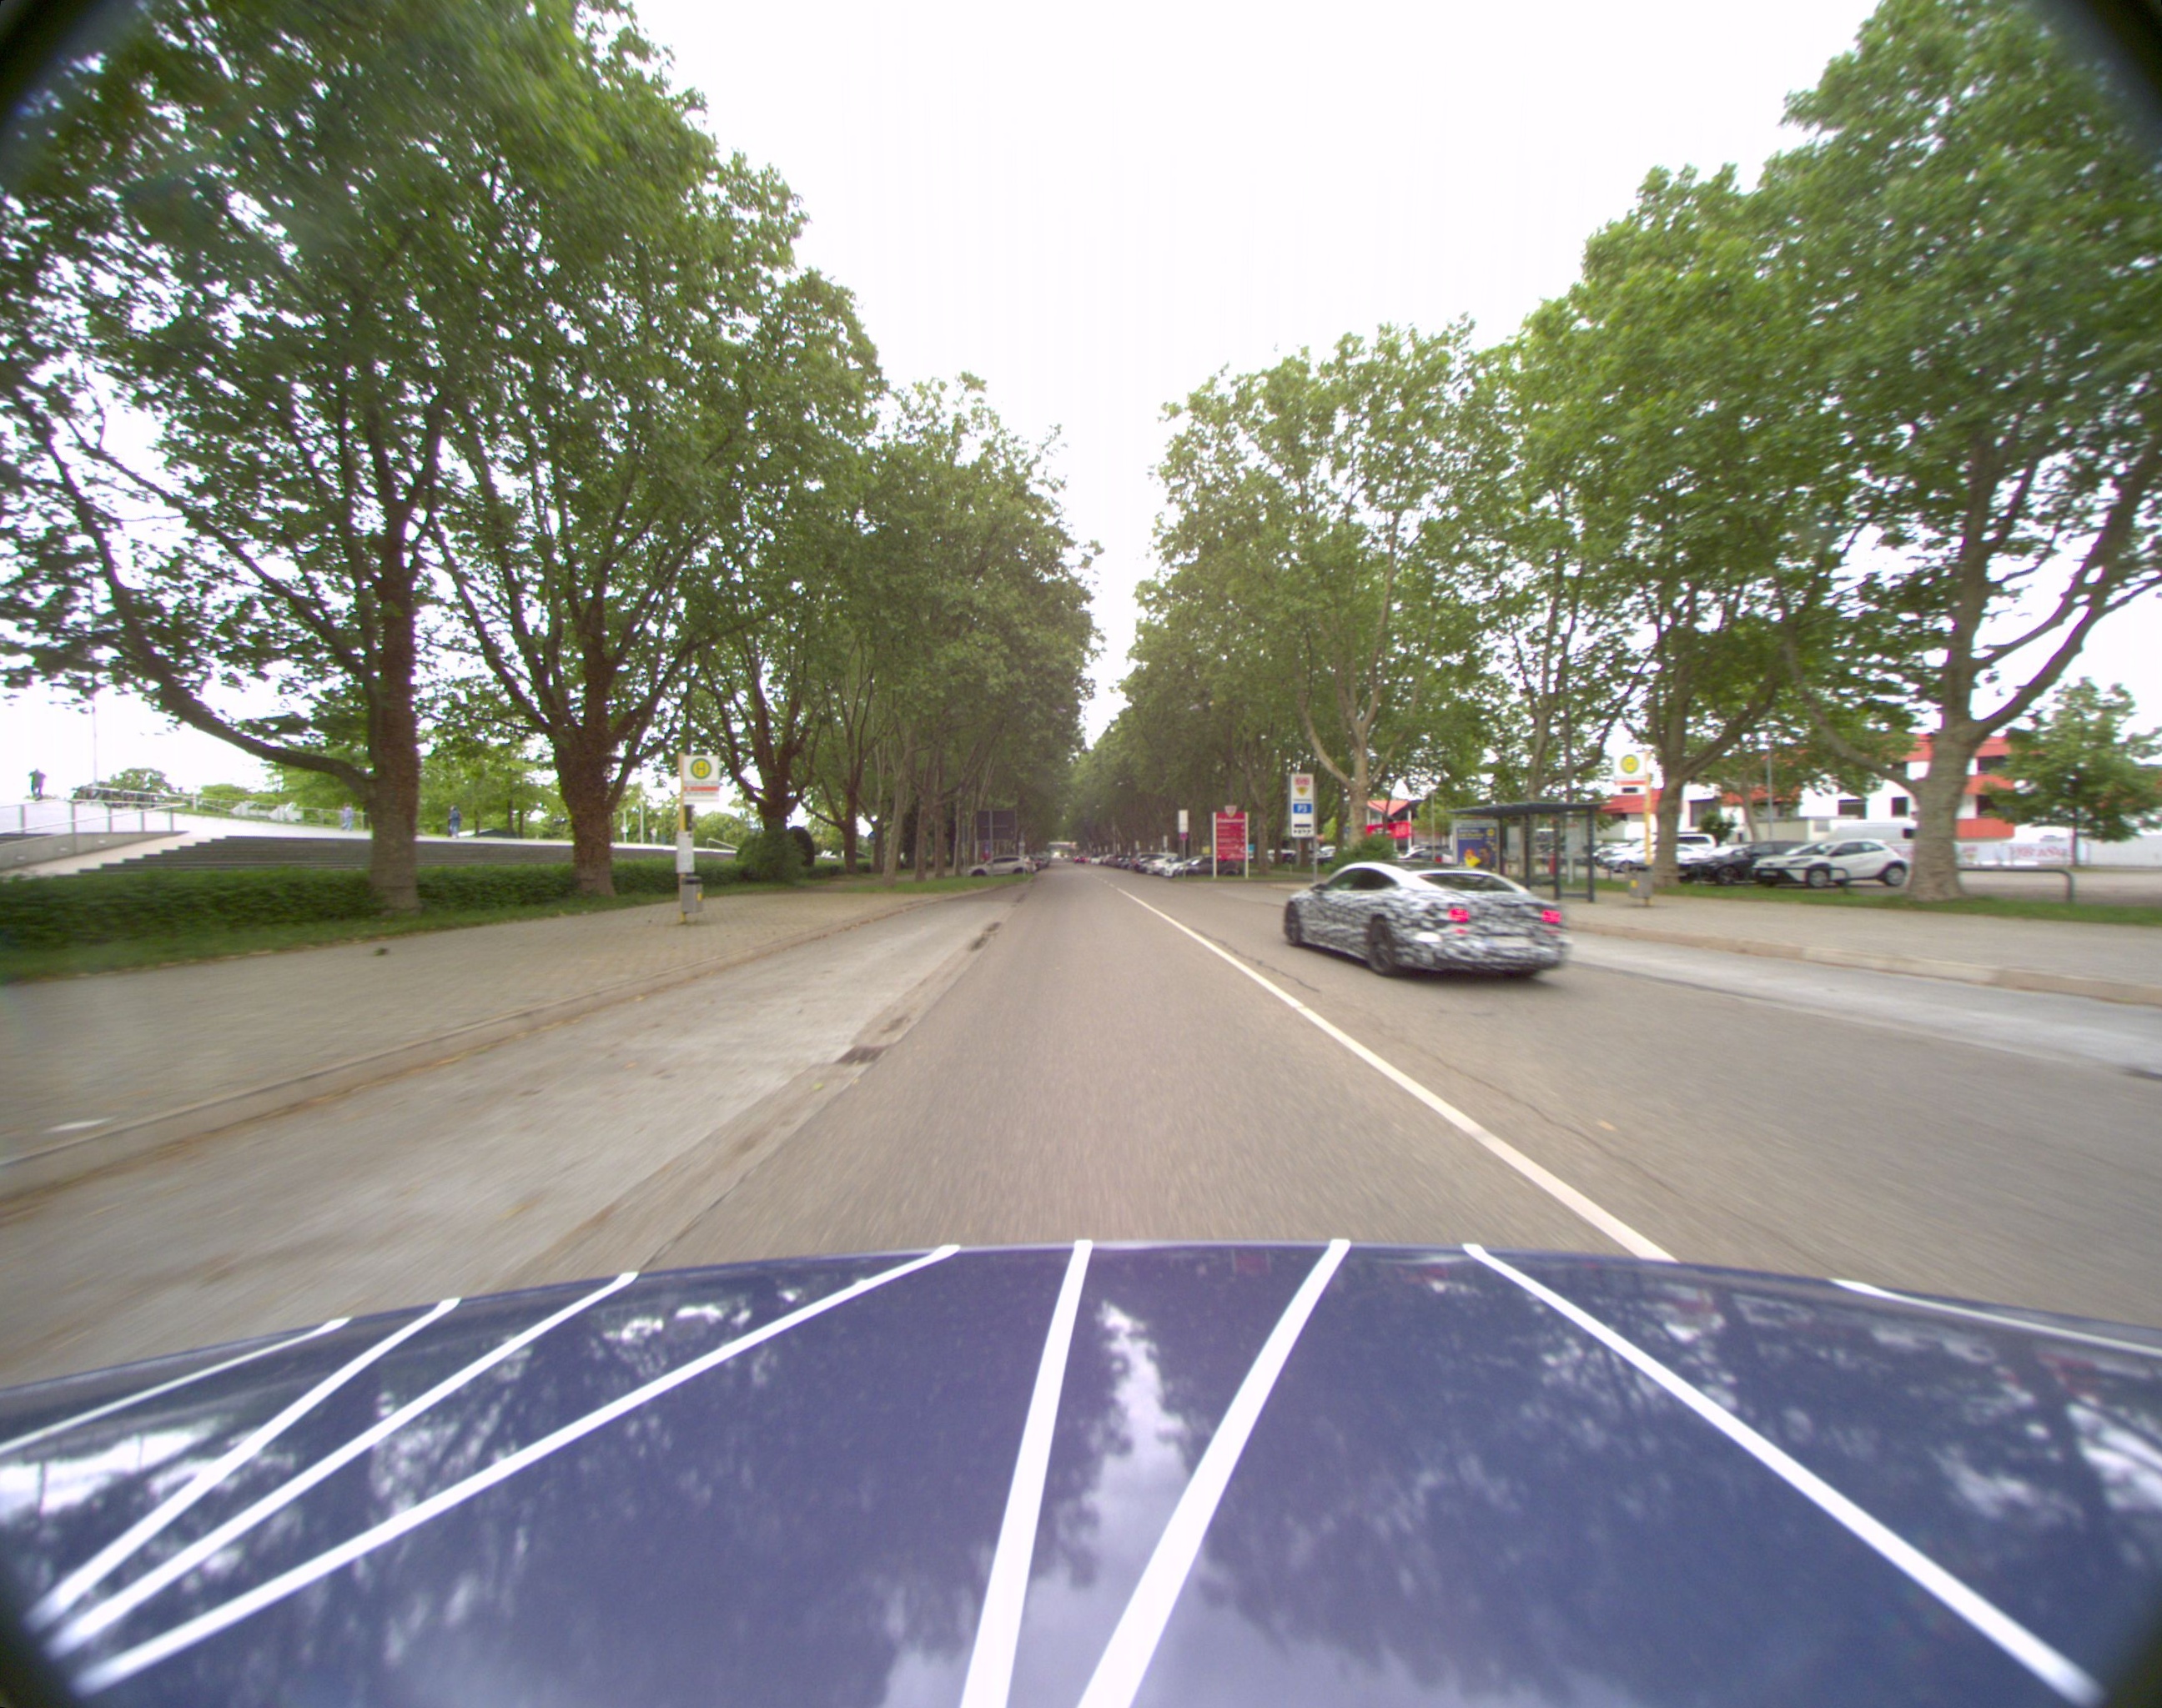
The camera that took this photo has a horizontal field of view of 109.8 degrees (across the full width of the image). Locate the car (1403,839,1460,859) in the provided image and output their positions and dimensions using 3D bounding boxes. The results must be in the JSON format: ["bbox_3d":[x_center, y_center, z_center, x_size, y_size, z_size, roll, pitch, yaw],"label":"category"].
[{"bbox_3d":[34.380,-0.479,74.605,4.589,1.844,2.297,-2,1,3],"label":"car"}]

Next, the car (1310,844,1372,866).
[{"bbox_3d":[22.456,0.063,65.737,4.531,1.752,2.295,-2,1,-3],"label":"car"}]

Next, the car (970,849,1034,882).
[{"bbox_3d":[-5.239,0.755,50.863,3.997,2.002,2.000,-2,0,-1],"label":"car"}]

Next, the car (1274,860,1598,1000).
[{"bbox_3d":[4.391,0.828,10.455,1.906,1.444,4.812,0,0,-5],"label":"car"}]

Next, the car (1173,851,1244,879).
[{"bbox_3d":[7.690,0.646,46.075,4.004,1.531,1.804,-2,1,0],"label":"car"}]

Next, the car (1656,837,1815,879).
[{"bbox_3d":[23.282,0.114,27.143,3.998,1.316,2.001,-2,1,-2],"label":"car"}]

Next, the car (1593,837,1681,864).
[{"bbox_3d":[34.497,-0.215,47.240,4.229,1.539,1.789,-2,1,-3],"label":"car"}]

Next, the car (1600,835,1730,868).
[{"bbox_3d":[29.942,-0.118,39.176,4.966,1.543,2.103,-1,1,25],"label":"car"}]

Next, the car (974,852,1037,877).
[{"bbox_3d":[-5.494,0.757,55.570,4.358,1.624,1.925,-2,0,-1],"label":"car"}]

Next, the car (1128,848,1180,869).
[{"bbox_3d":[6.565,0.382,68.612,4.330,1.799,1.866,1,0,-5],"label":"car"}]

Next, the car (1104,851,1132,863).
[{"bbox_3d":[5.430,0.465,111.232,3.997,1.672,1.855,-2,1,-1],"label":"car"}]

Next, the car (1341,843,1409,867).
[{"bbox_3d":[22.484,0.059,58.228,4.332,1.699,2.131,-2,1,-3],"label":"car"}]

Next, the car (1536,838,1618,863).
[{"bbox_3d":[33.930,-0.233,52.066,4.332,1.539,1.958,-2,1,-3],"label":"car"}]

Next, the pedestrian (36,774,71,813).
[{"bbox_3d":[-49.213,-2.894,36.401,0.835,1.755,0.682,-1,1,15],"label":"pedestrian"}]

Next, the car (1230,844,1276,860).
[{"bbox_3d":[21.035,-0.264,93.007,4.955,1.786,2.182,-2,1,-4],"label":"car"}]

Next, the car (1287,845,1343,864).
[{"bbox_3d":[22.334,0.041,72.689,4.564,1.716,2.295,-2,1,-3],"label":"car"}]

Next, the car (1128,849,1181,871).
[{"bbox_3d":[6.362,0.531,66.091,4.329,1.785,2.036,-2,1,-2],"label":"car"}]

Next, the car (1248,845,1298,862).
[{"bbox_3d":[21.478,-0.039,85.263,4.955,1.786,2.182,-1,0,-4],"label":"car"}]

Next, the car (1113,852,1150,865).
[{"bbox_3d":[5.695,0.478,86.120,3.942,1.390,1.703,1,0,-3],"label":"car"}]

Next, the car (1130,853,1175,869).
[{"bbox_3d":[6.724,0.686,71.319,3.796,1.463,1.763,1,0,-12],"label":"car"}]

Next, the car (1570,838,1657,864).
[{"bbox_3d":[34.682,-0.194,49.556,4.332,1.539,1.958,-2,1,-3],"label":"car"}]

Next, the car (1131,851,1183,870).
[{"bbox_3d":[6.345,0.545,63.650,4.139,1.443,2.013,2,0,0],"label":"car"}]

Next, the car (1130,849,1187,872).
[{"bbox_3d":[6.248,0.532,61.631,4.329,1.799,1.867,1,0,-2],"label":"car"}]

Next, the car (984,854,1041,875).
[{"bbox_3d":[-5.458,0.844,60.947,4.358,1.447,1.949,-2,0,-3],"label":"car"}]

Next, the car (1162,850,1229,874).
[{"bbox_3d":[7.284,0.503,48.473,4.003,1.377,1.911,-2,1,2],"label":"car"}]

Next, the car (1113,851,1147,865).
[{"bbox_3d":[6.024,0.529,94.034,3.942,1.698,1.751,1,0,-3],"label":"car"}]

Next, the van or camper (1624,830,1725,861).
[{"bbox_3d":[34.963,-0.503,44.840,4.332,1.699,2.131,-2,1,-3],"label":"van or camper"}]

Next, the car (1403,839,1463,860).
[{"bbox_3d":[33.533,-0.456,72.507,4.589,1.844,2.297,-2,1,3],"label":"car"}]

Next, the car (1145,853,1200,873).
[{"bbox_3d":[7.043,0.701,58.766,3.998,1.396,1.885,-2,1,-3],"label":"car"}]

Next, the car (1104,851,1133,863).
[{"bbox_3d":[5.309,0.438,108.803,3.997,1.672,1.855,-2,1,-1],"label":"car"}]

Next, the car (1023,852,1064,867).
[{"bbox_3d":[-4.210,0.628,85.346,4.357,1.493,1.926,-2,0,1],"label":"car"}]

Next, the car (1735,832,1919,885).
[{"bbox_3d":[23.874,0.138,24.427,3.997,1.514,2.001,-2,1,-1],"label":"car"}]

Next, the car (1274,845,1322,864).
[{"bbox_3d":[22.233,0.031,77.950,4.332,1.850,2.027,-2,1,-3],"label":"car"}]

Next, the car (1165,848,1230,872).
[{"bbox_3d":[7.764,0.390,51.017,4.004,1.485,1.832,-2,1,-2],"label":"car"}]

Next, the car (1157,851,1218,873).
[{"bbox_3d":[7.467,0.577,53.410,3.998,1.397,1.861,-2,1,-2],"label":"car"}]

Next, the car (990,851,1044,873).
[{"bbox_3d":[-5.313,0.652,63.314,4.358,1.750,1.925,-1,0,-3],"label":"car"}]

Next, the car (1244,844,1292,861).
[{"bbox_3d":[21.688,-0.230,88.056,4.955,1.786,2.182,-2,1,-4],"label":"car"}]

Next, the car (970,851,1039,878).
[{"bbox_3d":[-5.079,0.693,50.964,4.358,1.624,1.925,-2,0,-1],"label":"car"}]

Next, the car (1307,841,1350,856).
[{"bbox_3d":[32.496,-0.764,99.845,4.955,1.786,2.182,-2,1,-4],"label":"car"}]

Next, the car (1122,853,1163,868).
[{"bbox_3d":[6.171,0.656,76.264,3.988,1.412,1.756,1,0,1],"label":"car"}]

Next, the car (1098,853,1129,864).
[{"bbox_3d":[4.276,0.562,101.097,4.004,1.412,1.703,1,0,-3],"label":"car"}]

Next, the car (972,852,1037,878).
[{"bbox_3d":[-5.371,0.753,53.523,4.358,1.595,1.925,-2,0,-1],"label":"car"}]

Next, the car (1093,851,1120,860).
[{"bbox_3d":[4.230,0.282,128.322,4.420,1.416,1.775,1,0,-3],"label":"car"}]

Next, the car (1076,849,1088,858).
[{"bbox_3d":[0.195,-0.148,132.424,1.847,1.501,4.013,-2,1,-3],"label":"car"}]

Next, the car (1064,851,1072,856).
[{"bbox_3d":[-4.254,-0.049,242.614,1.999,1.375,4.676,-3,0,-6],"label":"car"}]

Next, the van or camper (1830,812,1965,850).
[{"bbox_3d":[47.113,-1.274,44.045,1.999,2.002,5.301,-2,1,-2],"label":"van or camper"}]

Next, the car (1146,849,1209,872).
[{"bbox_3d":[7.076,0.469,56.141,4.276,1.539,1.907,1,1,-4],"label":"car"}]

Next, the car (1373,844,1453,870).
[{"bbox_3d":[22.200,0.193,50.939,4.332,1.539,2.203,-2,1,-3],"label":"car"}]

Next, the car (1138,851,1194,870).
[{"bbox_3d":[6.803,0.524,61.236,4.201,1.346,1.966,-2,1,-4],"label":"car"}]
